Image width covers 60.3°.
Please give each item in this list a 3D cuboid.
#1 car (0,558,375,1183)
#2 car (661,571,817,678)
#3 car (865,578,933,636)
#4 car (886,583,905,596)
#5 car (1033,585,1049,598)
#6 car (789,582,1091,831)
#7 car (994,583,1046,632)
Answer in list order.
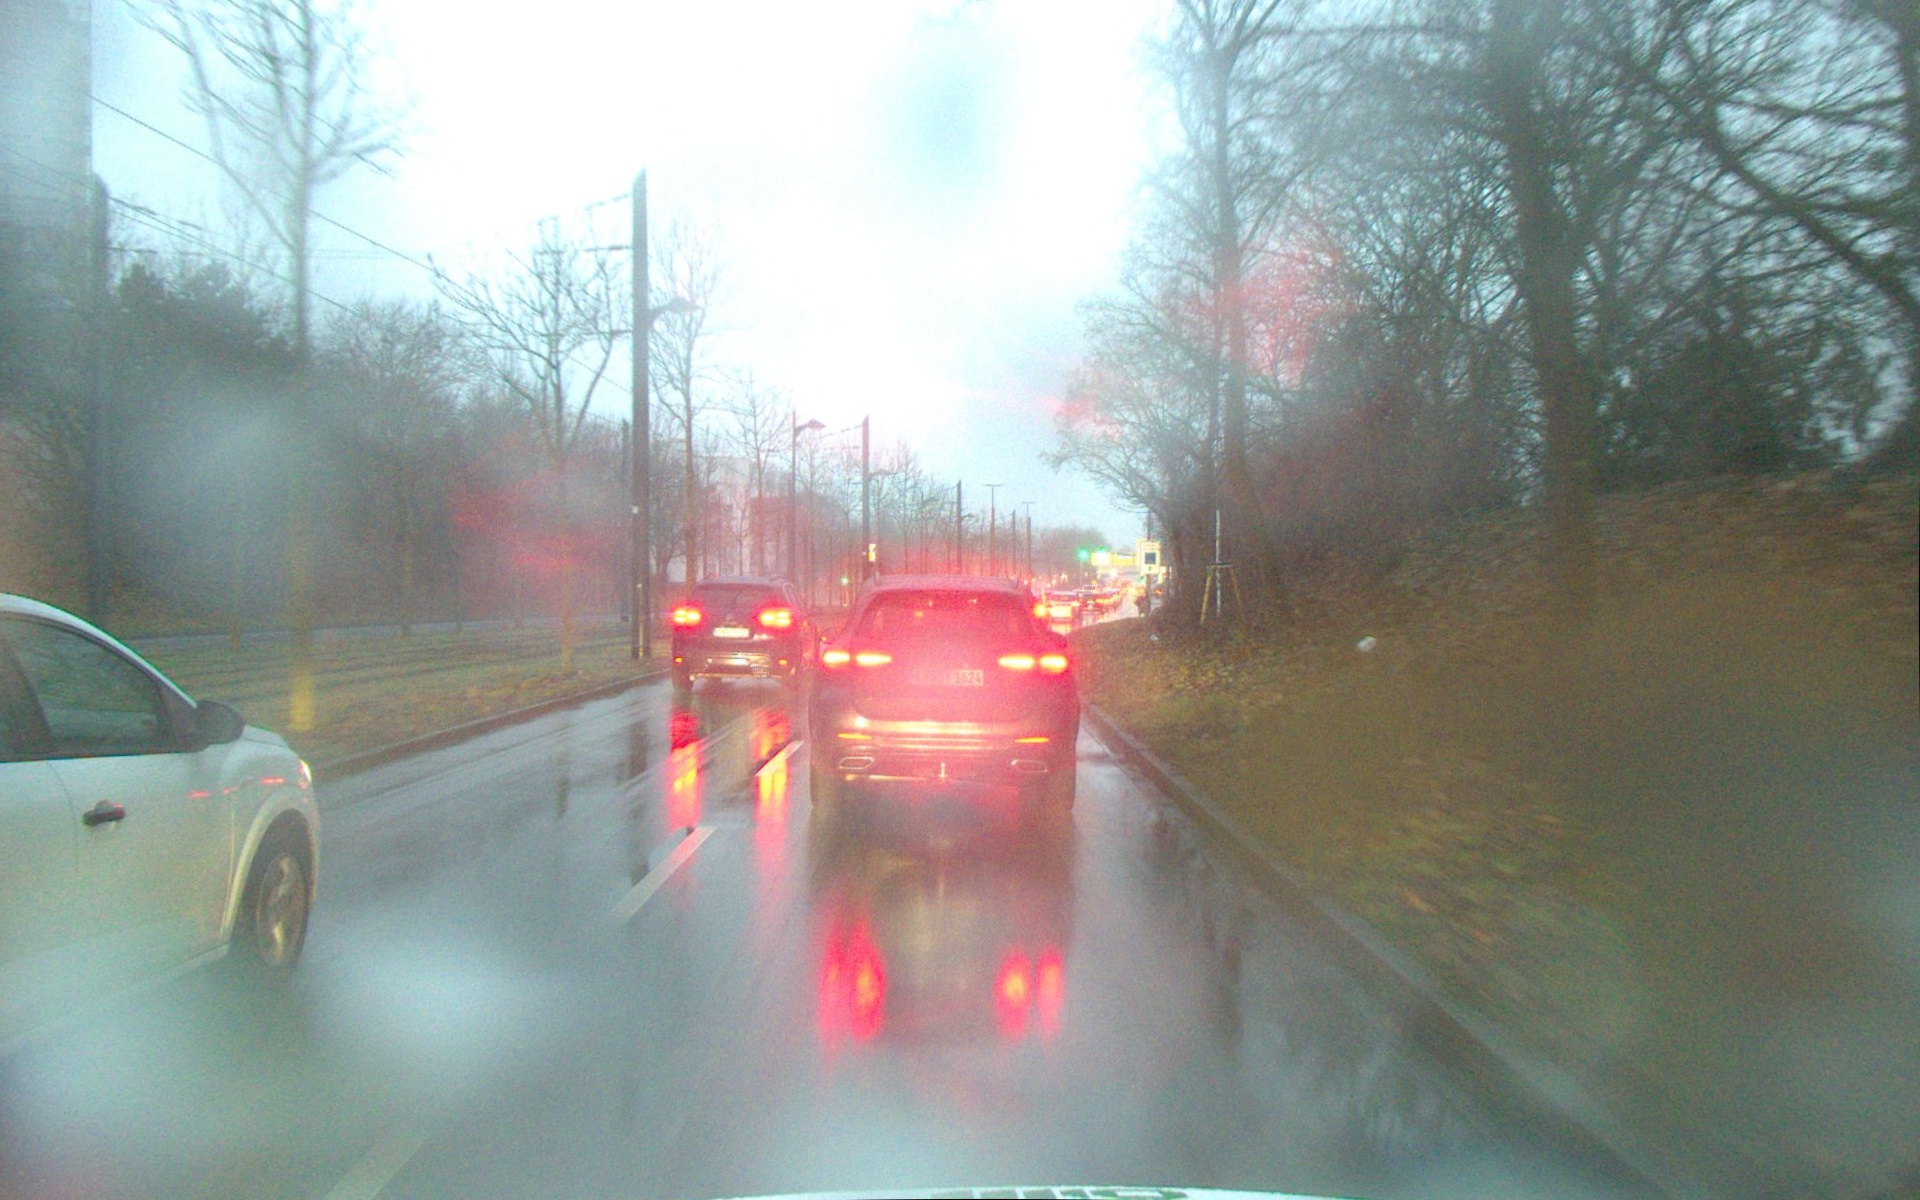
[{"bbox_3d":[-3.220,0.668,4.685,1.674,1.551,4.134,0,0,0],"label":"car"},{"bbox_3d":[-3.253,0.310,25.018,1.842,1.485,4.000,0,1,0],"label":"car"},{"bbox_3d":[-1.760,0.180,48.818,1.841,1.621,4.000,0,1,0],"label":"car"},{"bbox_3d":[-8.557,-1.368,219.814,1.951,1.687,4.003,1,0,7],"label":"car"},{"bbox_3d":[11.142,-1.196,227.193,1.951,1.695,3.839,0,0,7],"label":"car"},{"bbox_3d":[-0.138,0.676,12.824,1.957,1.612,4.000,1,1,0],"label":"car"},{"bbox_3d":[1.965,0.229,54.851,1.673,1.585,3.997,0,0,2],"label":"car"}]
